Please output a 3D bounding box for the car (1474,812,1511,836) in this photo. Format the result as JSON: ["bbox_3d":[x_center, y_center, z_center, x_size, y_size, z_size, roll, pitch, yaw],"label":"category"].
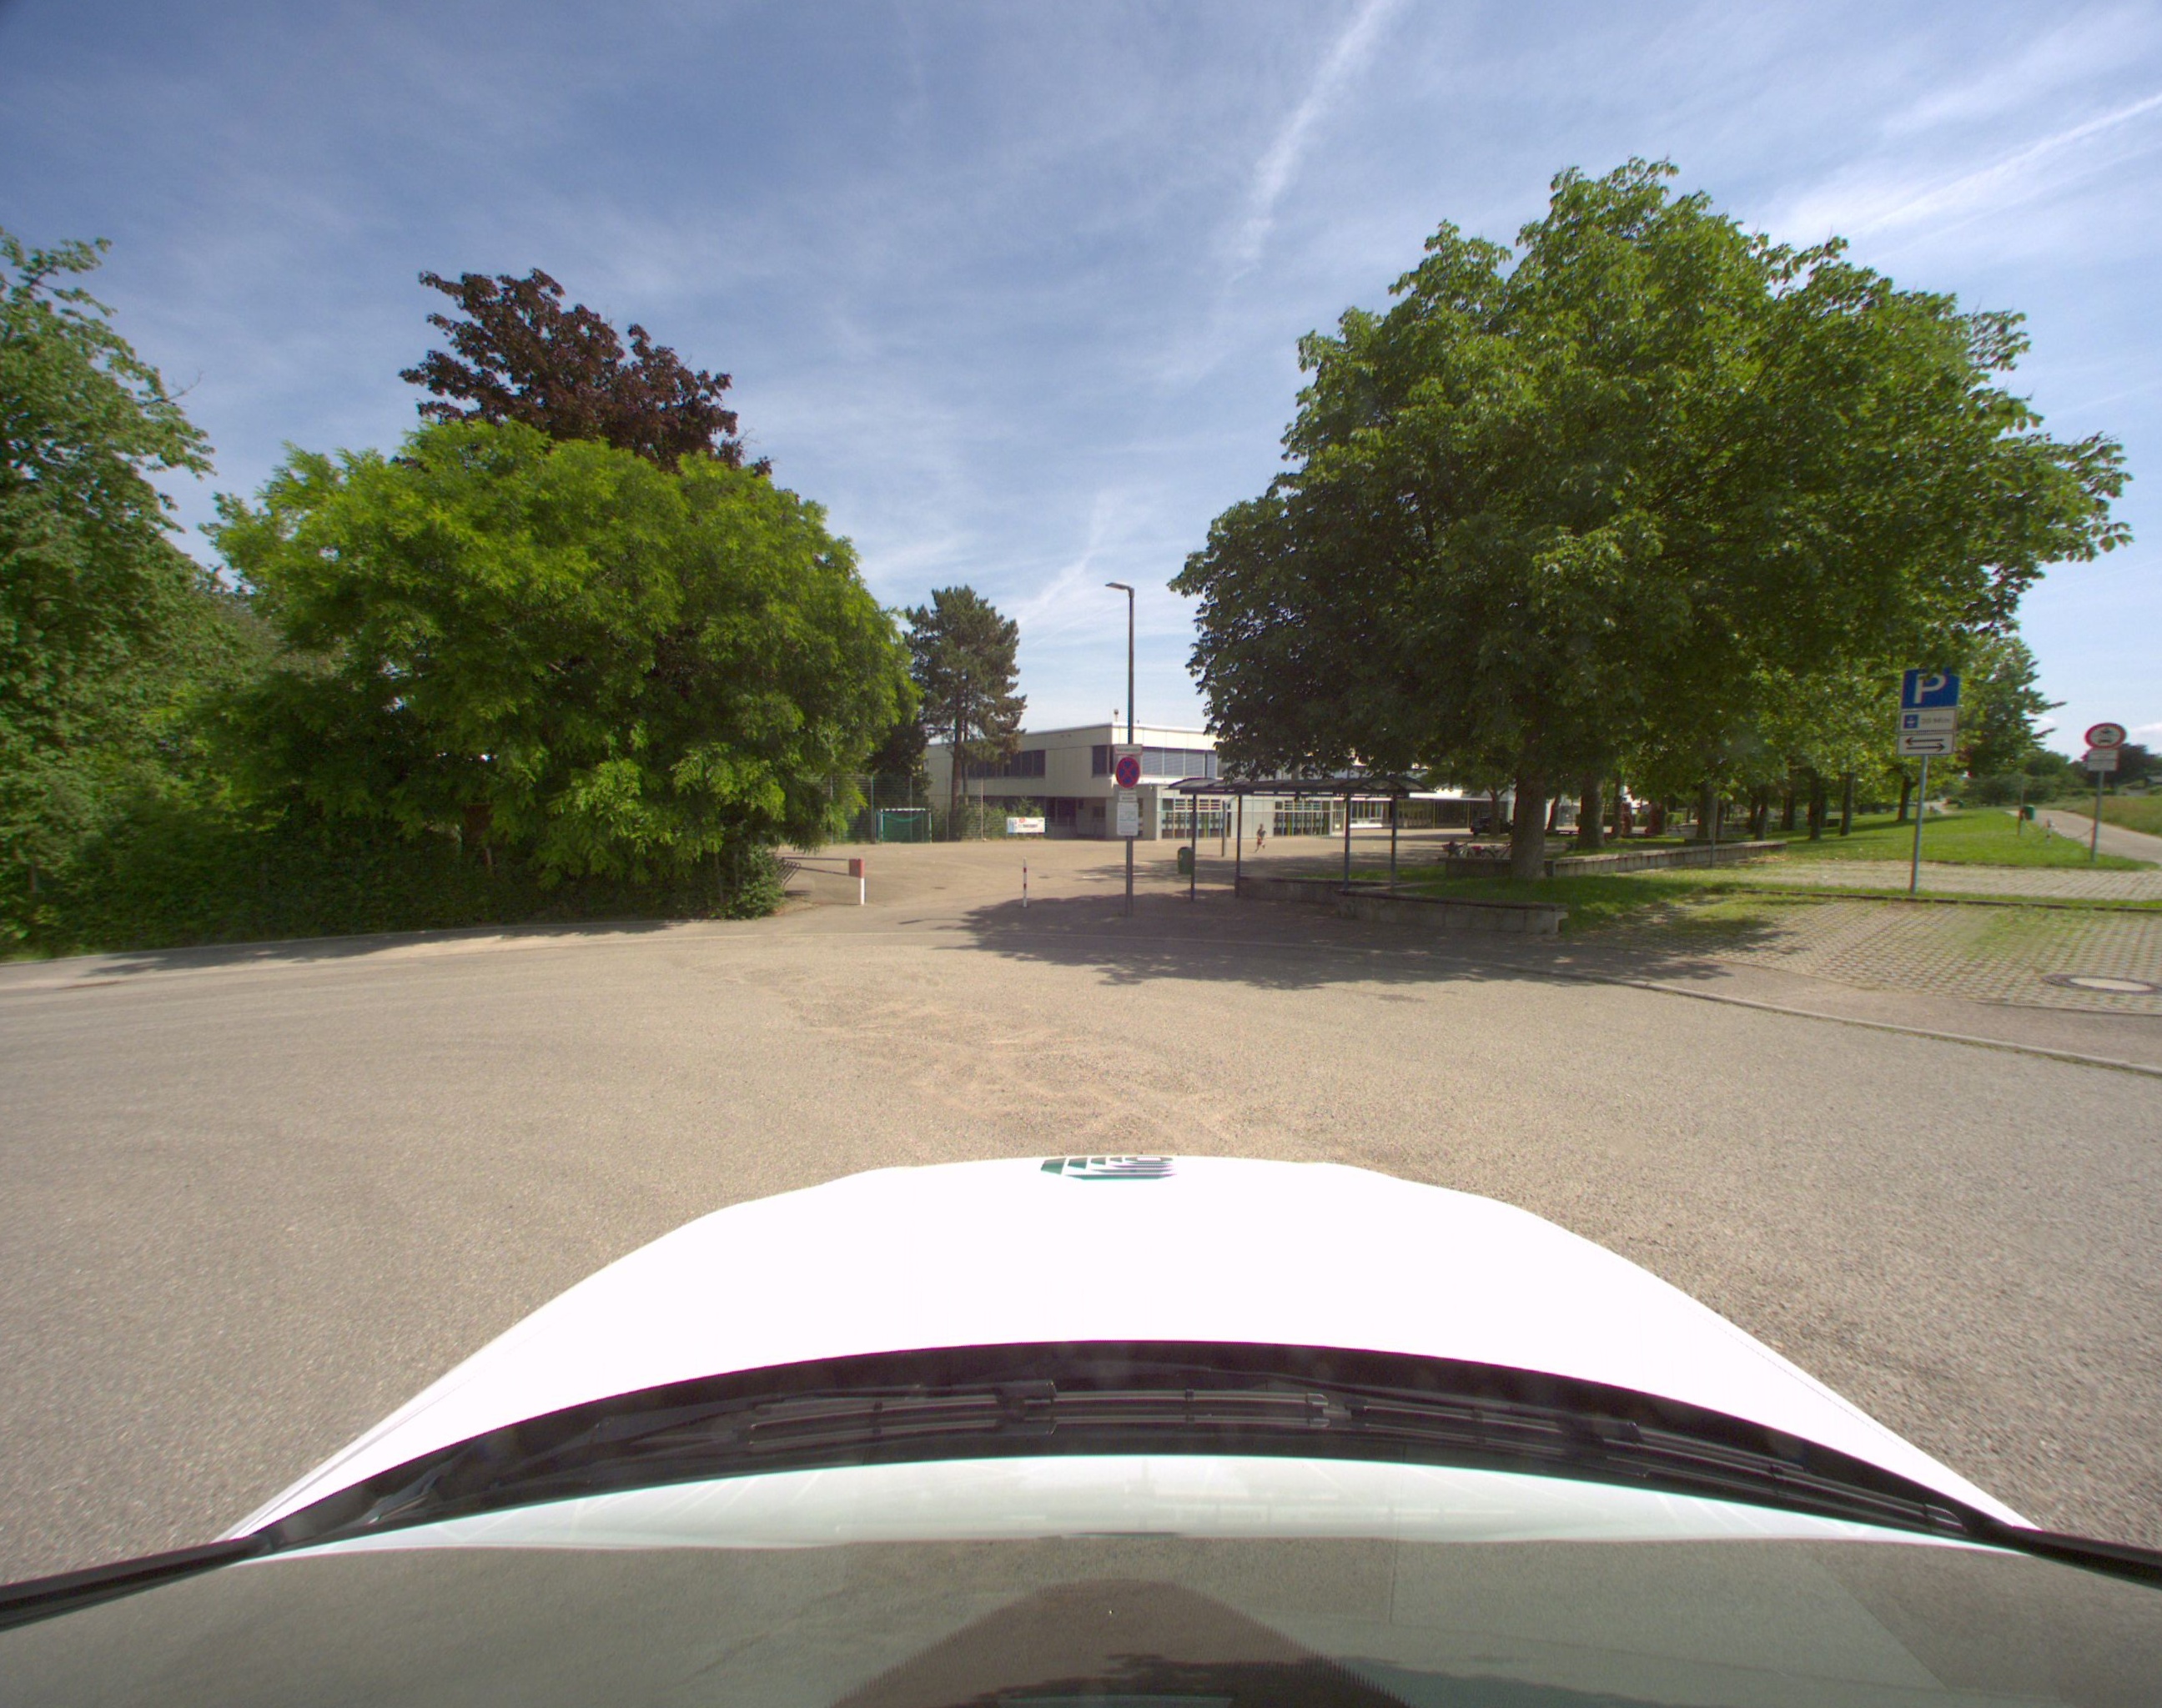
[{"bbox_3d":[32.251,-2.326,63.774,1.675,1.834,3.432,2,3,43],"label":"car"}]

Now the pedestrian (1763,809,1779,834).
[{"bbox_3d":[57.045,-2.699,67.333,0.678,2.013,0.806,1,2,13],"label":"pedestrian"}]

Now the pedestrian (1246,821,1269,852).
[{"bbox_3d":[8.384,-0.854,38.625,0.909,1.423,1.075,1,2,20],"label":"pedestrian"}]

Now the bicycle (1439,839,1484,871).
[{"bbox_3d":[12.977,0.014,27.743,1.902,1.039,0.590,-2,2,-38],"label":"bicycle"}]

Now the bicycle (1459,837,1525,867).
[{"bbox_3d":[14.616,-0.082,28.982,2.042,1.039,0.576,0,2,38],"label":"bicycle"}]

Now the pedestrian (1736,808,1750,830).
[{"bbox_3d":[60.673,-3.196,74.661,0.824,2.013,0.696,2,2,29],"label":"pedestrian"}]
